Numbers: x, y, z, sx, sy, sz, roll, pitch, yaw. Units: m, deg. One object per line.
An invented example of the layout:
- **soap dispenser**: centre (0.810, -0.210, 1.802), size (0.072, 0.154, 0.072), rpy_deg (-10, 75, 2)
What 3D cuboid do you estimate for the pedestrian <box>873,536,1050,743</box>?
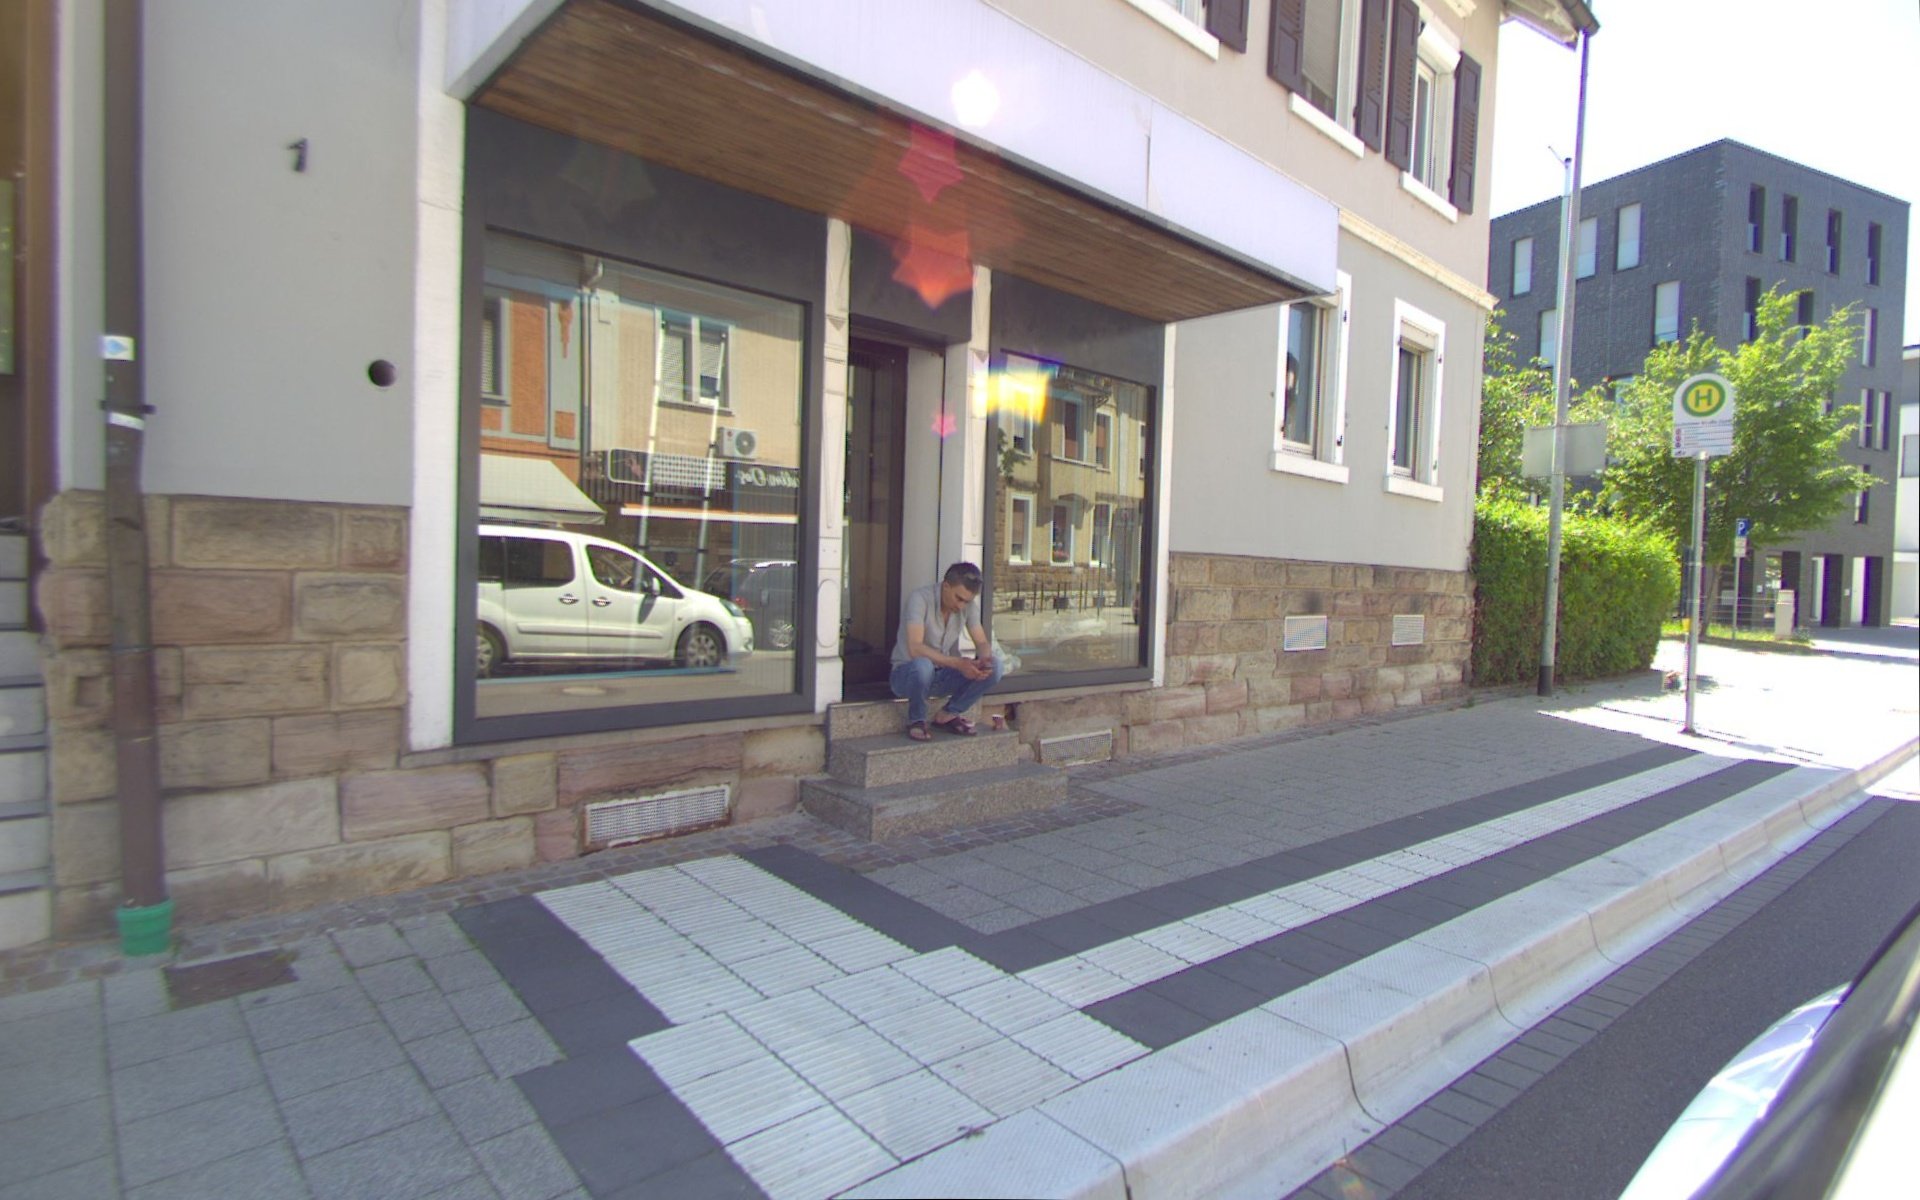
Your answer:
- **pedestrian**: centre (0.011, 0.183, 5.471), size (0.712, 1.011, 0.591), rpy_deg (0, 3, -43)
